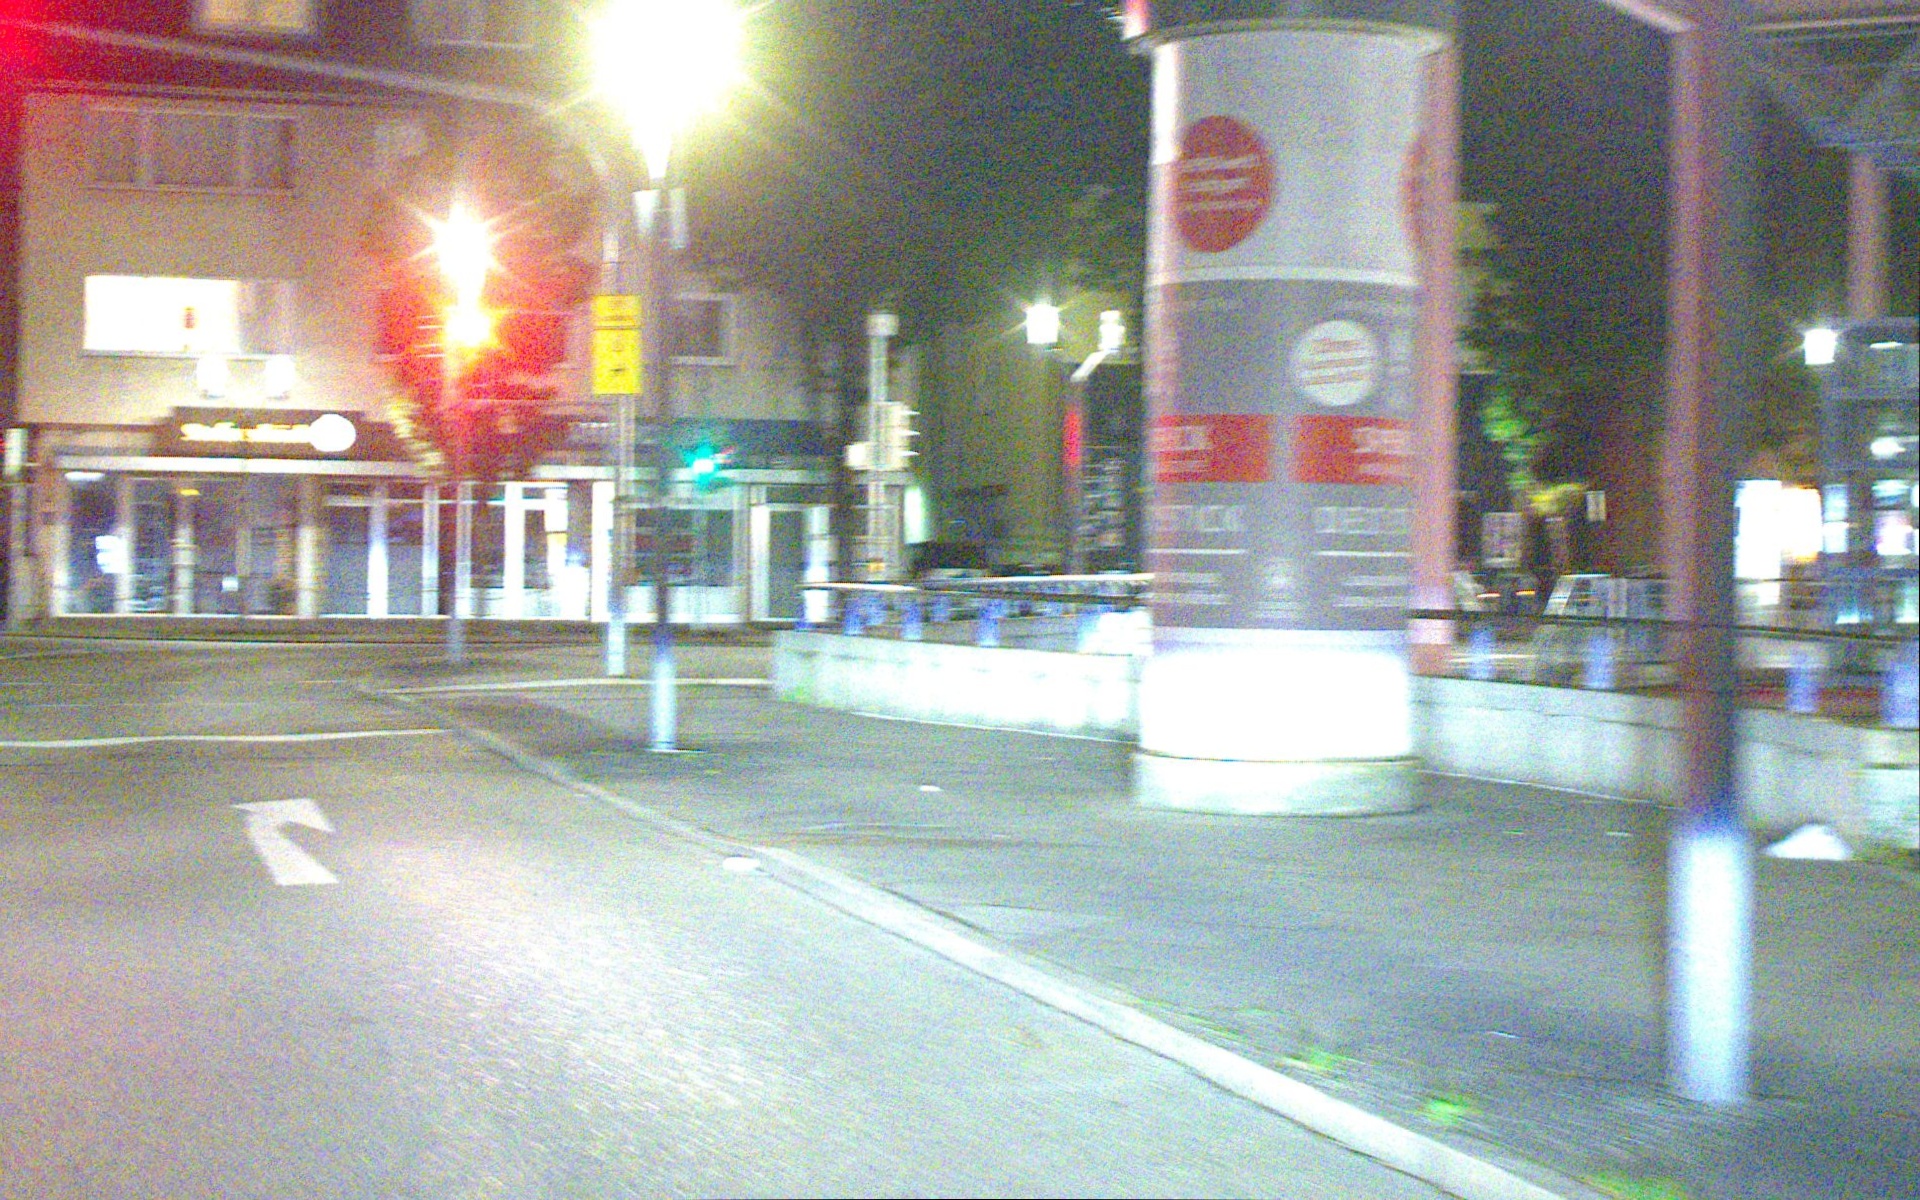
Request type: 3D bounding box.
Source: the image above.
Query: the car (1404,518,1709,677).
[{"bbox_3d":[6.418,-0.070,36.620,1.996,1.568,4.322,1,1,27],"label":"car"}]

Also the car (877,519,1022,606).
[{"bbox_3d":[-0.224,-0.714,64.091,1.993,1.568,3.656,0,1,-12],"label":"car"}]
